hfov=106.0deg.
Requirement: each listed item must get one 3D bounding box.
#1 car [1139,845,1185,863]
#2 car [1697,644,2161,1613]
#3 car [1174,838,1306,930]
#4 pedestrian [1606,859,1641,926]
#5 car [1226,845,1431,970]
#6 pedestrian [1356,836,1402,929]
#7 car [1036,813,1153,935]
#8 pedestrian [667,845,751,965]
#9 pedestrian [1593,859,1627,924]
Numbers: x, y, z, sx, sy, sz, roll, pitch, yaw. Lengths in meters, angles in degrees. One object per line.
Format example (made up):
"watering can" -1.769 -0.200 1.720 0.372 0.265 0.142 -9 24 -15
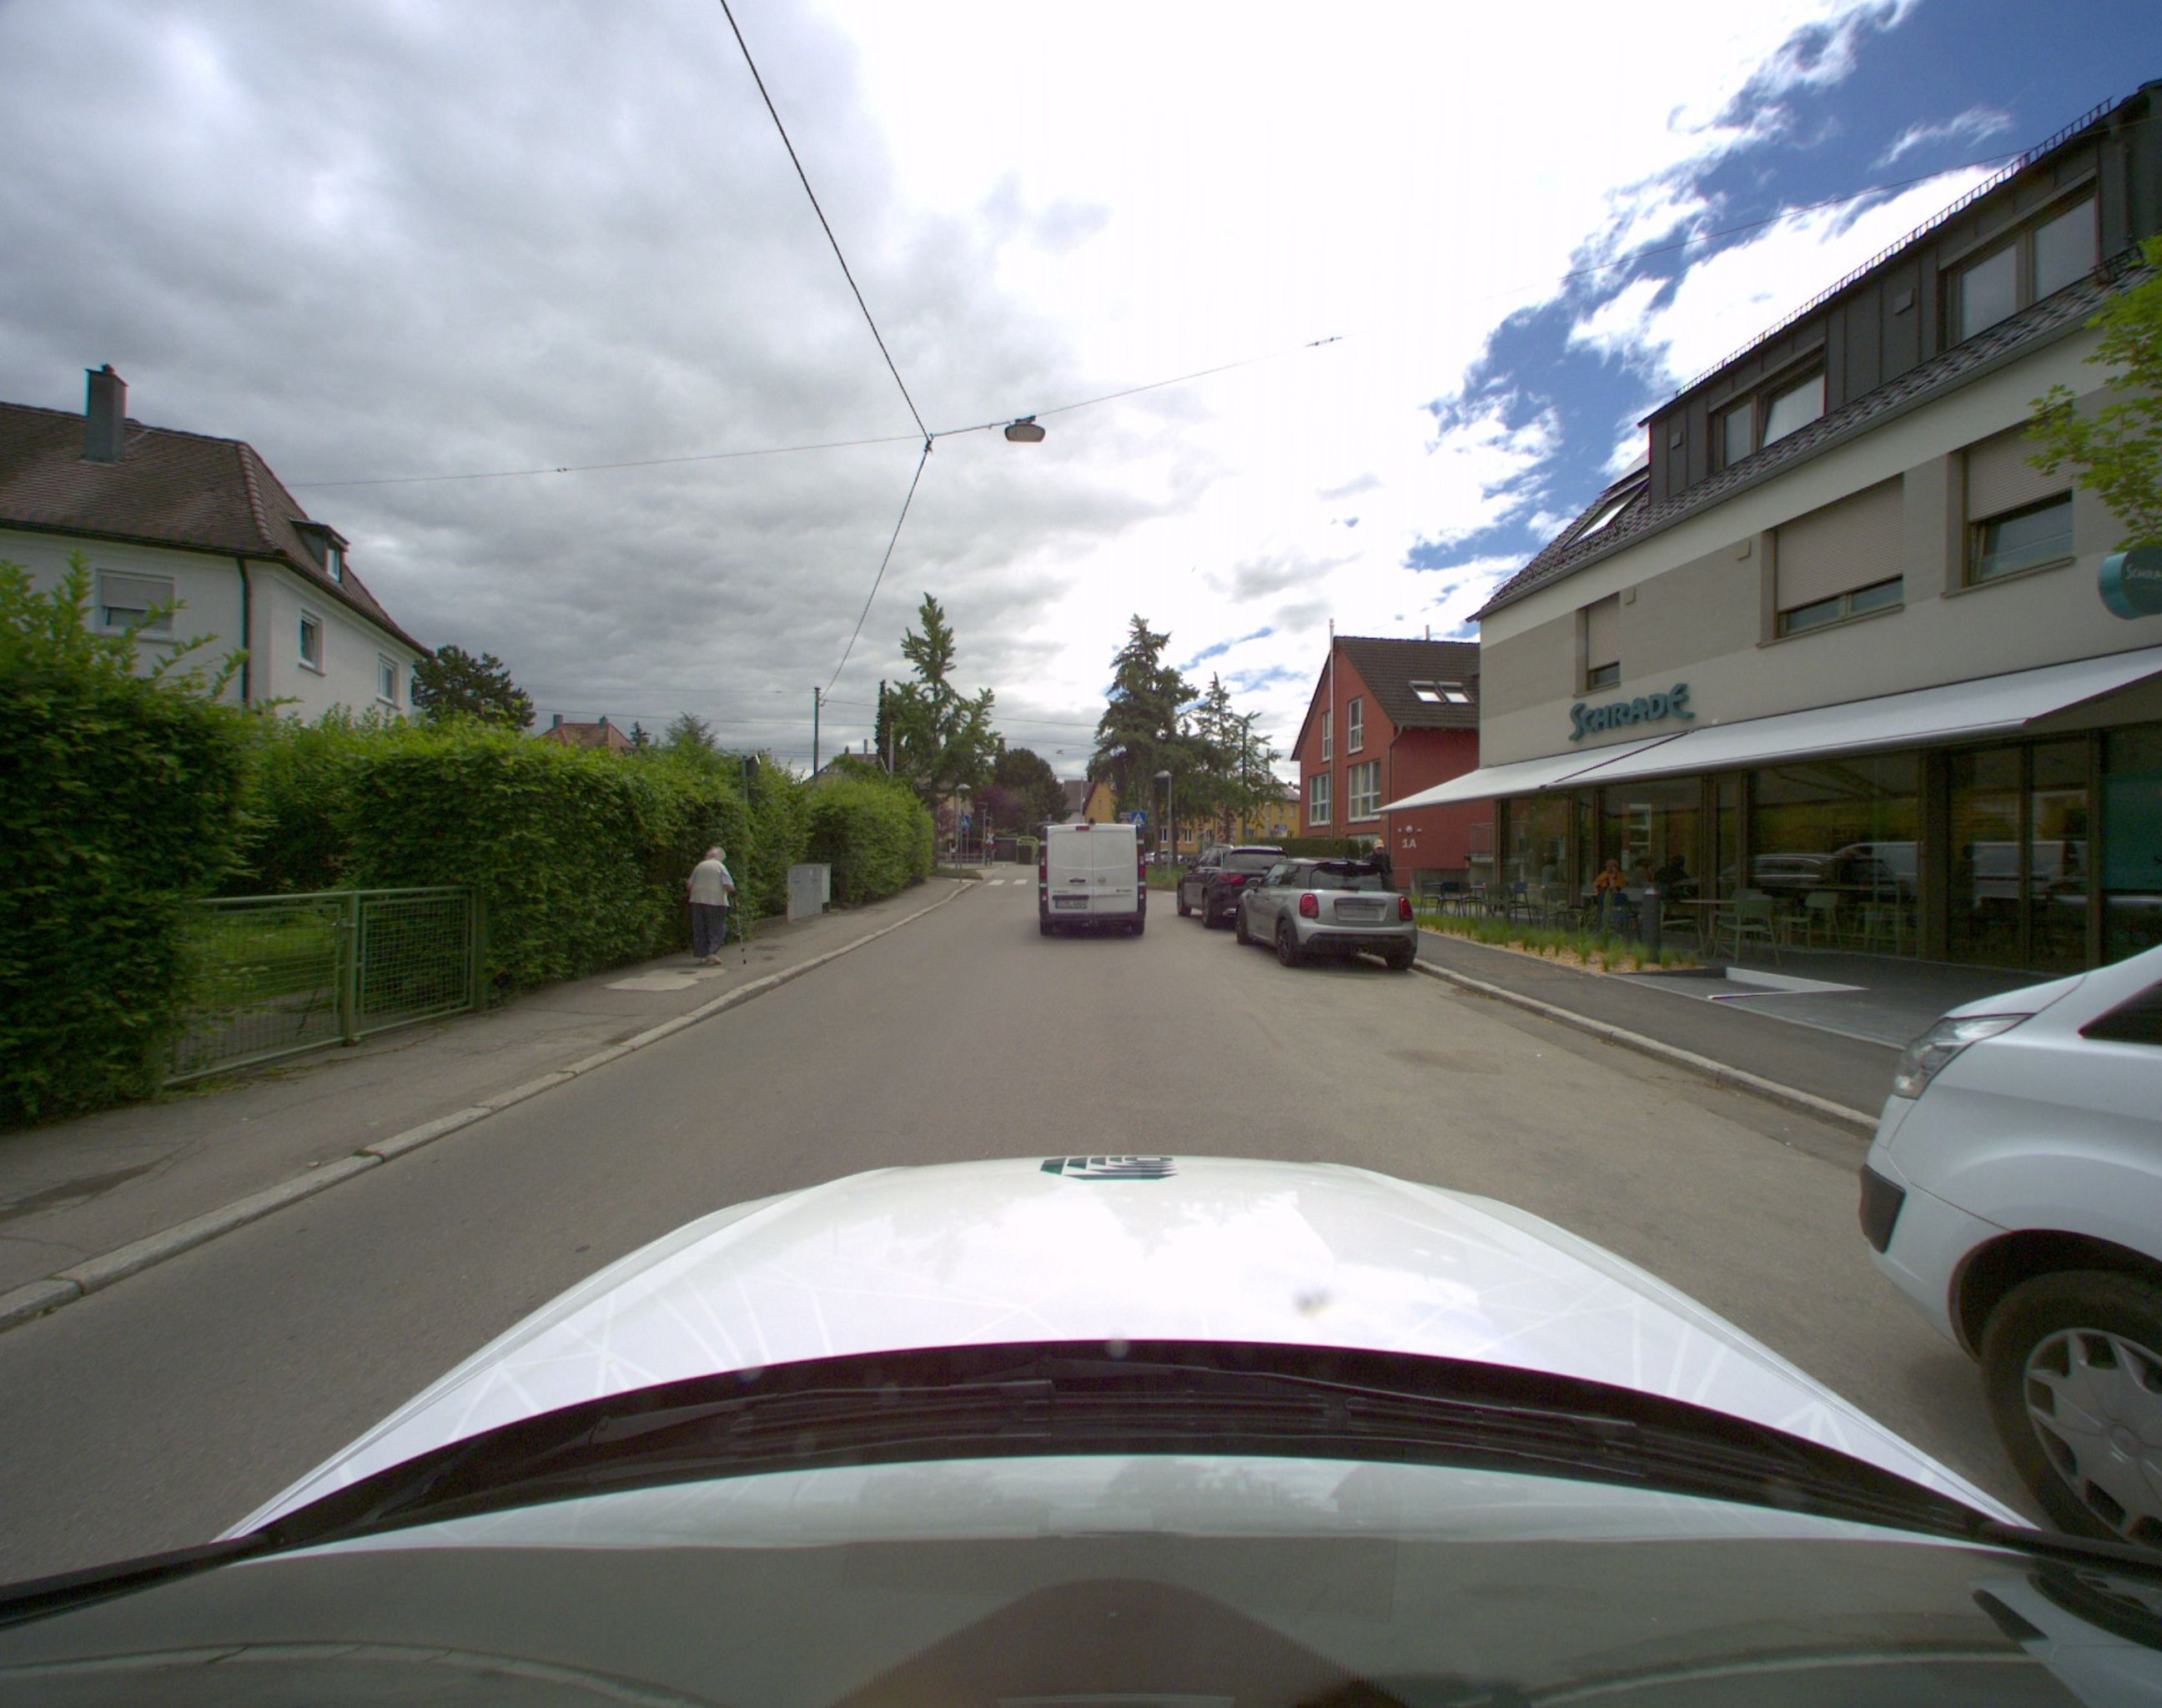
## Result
"car" 7.583 0.007 76.476 3.945 1.537 1.901 3 -1 -31
"car" 3.142 0.562 0.380 1.952 1.916 4.900 2 0 -1
"car" 3.155 0.547 16.989 1.698 1.614 4.254 2 0 -3
"pedestrian" 9.641 0.675 14.479 0.420 1.165 0.324 0 -1 -2
"car" 3.414 0.681 11.960 1.737 1.494 3.651 2 0 -3
"pedestrian" 5.307 0.496 14.513 0.588 1.607 0.529 2 -1 1
"car" 0.161 0.295 15.644 1.911 2.002 4.435 0 1 -2
"pedestrian" -4.768 0.651 10.477 0.879 1.485 0.452 3 -1 -20
"pedestrian" 9.622 0.676 14.819 0.420 1.182 0.324 0 -1 -2
